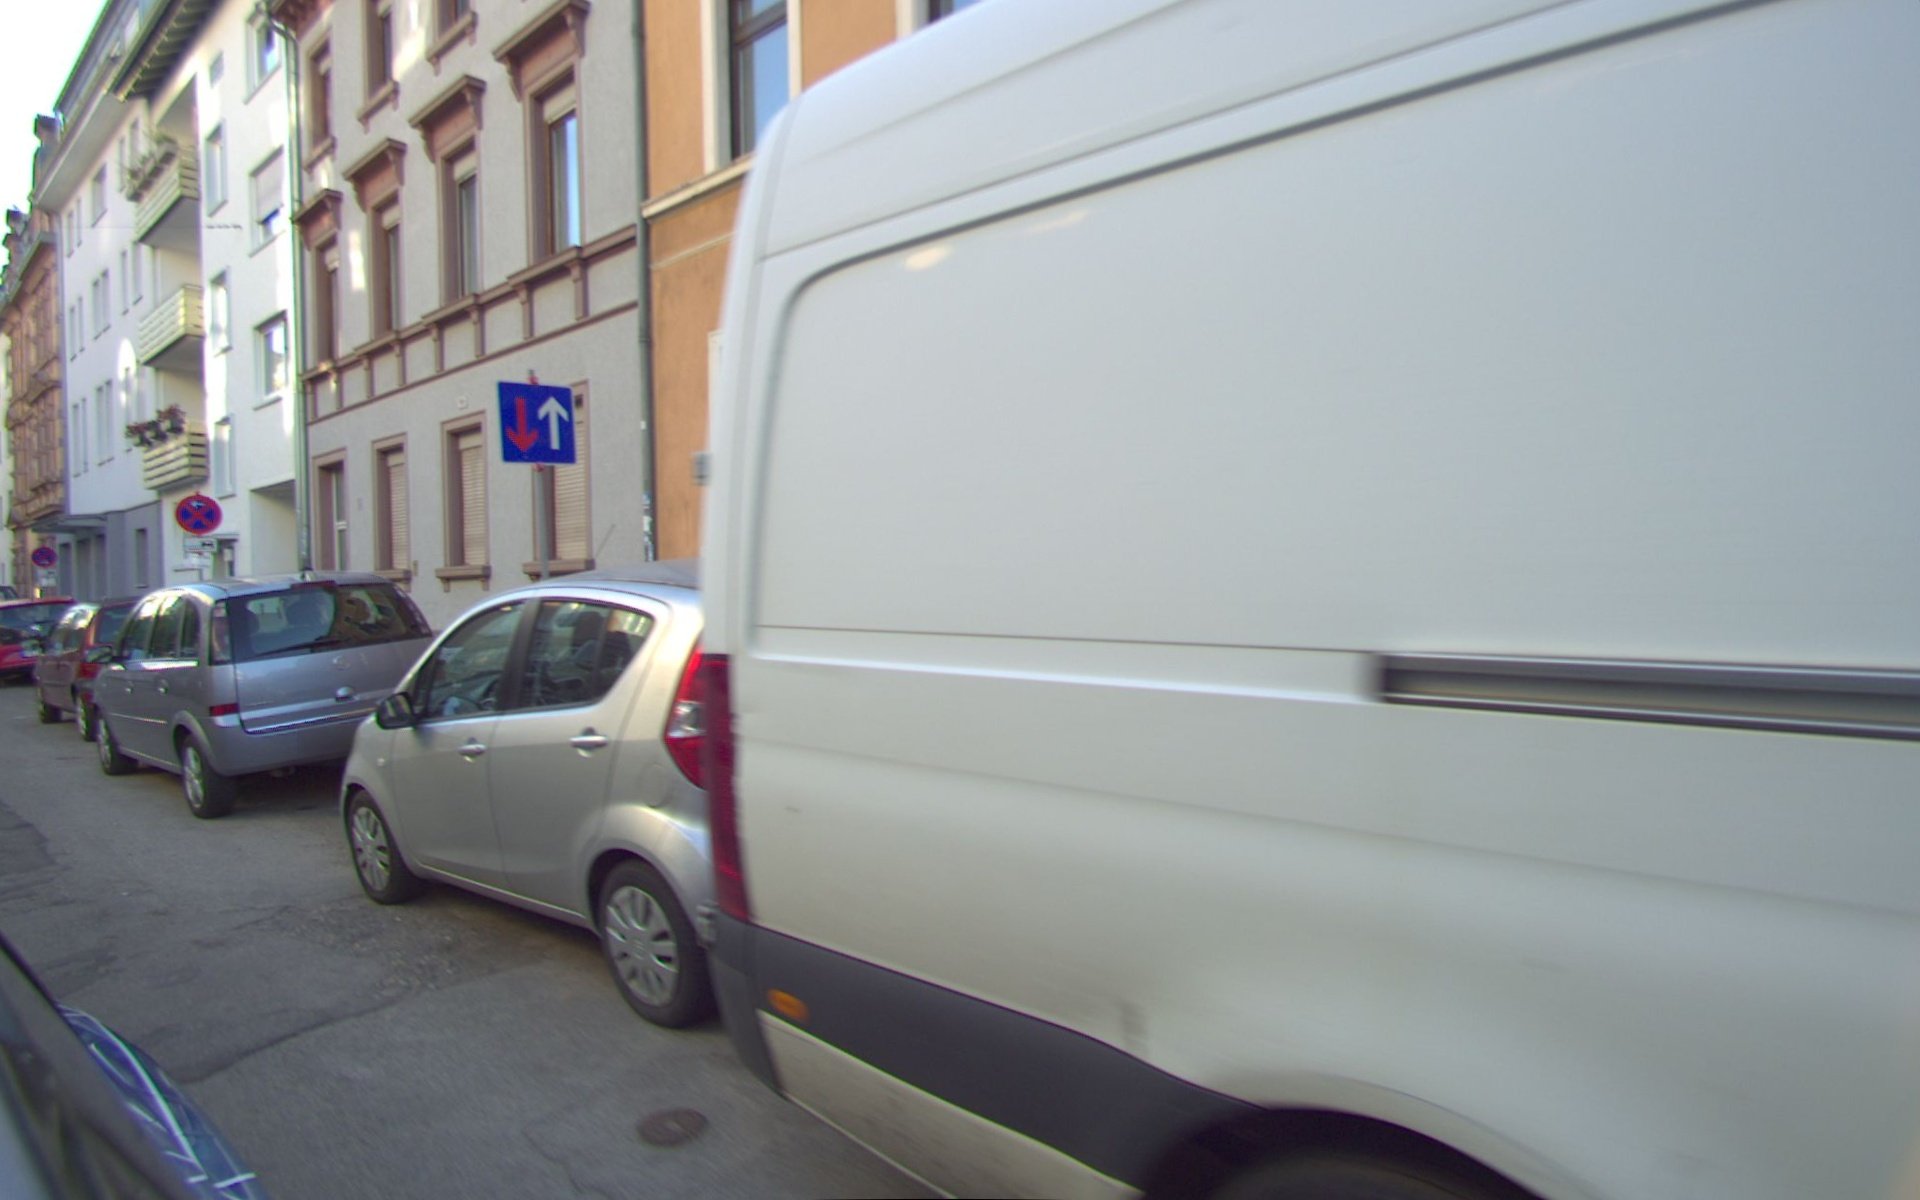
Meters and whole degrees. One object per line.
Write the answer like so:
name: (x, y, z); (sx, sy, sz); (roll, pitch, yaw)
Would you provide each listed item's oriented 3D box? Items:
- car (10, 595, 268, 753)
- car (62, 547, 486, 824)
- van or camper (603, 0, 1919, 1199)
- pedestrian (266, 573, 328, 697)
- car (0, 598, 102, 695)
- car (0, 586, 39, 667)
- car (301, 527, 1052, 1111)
car: (-9.629, 0.749, 11.812); (3.283, 1.458, 1.641); (-1, 4, 40)
car: (-5.628, 0.511, 8.124); (3.976, 1.656, 1.694); (-1, 3, 40)
van or camper: (2.533, 0.070, 0.866); (7.133, 2.669, 1.930); (-1, 0, 39)
pedestrian: (-9.134, 0.463, 13.939); (0.665, 1.650, 0.490); (0, 2, 41)
car: (-17.197, 0.805, 18.729); (1.650, 1.496, 3.608); (-9, 6, -44)
car: (-24.336, 0.650, 24.786); (4.580, 1.872, 1.974); (-1, 1, 40)
car: (-1.534, 0.630, 4.726); (3.650, 1.698, 1.574); (-1, 1, 40)
